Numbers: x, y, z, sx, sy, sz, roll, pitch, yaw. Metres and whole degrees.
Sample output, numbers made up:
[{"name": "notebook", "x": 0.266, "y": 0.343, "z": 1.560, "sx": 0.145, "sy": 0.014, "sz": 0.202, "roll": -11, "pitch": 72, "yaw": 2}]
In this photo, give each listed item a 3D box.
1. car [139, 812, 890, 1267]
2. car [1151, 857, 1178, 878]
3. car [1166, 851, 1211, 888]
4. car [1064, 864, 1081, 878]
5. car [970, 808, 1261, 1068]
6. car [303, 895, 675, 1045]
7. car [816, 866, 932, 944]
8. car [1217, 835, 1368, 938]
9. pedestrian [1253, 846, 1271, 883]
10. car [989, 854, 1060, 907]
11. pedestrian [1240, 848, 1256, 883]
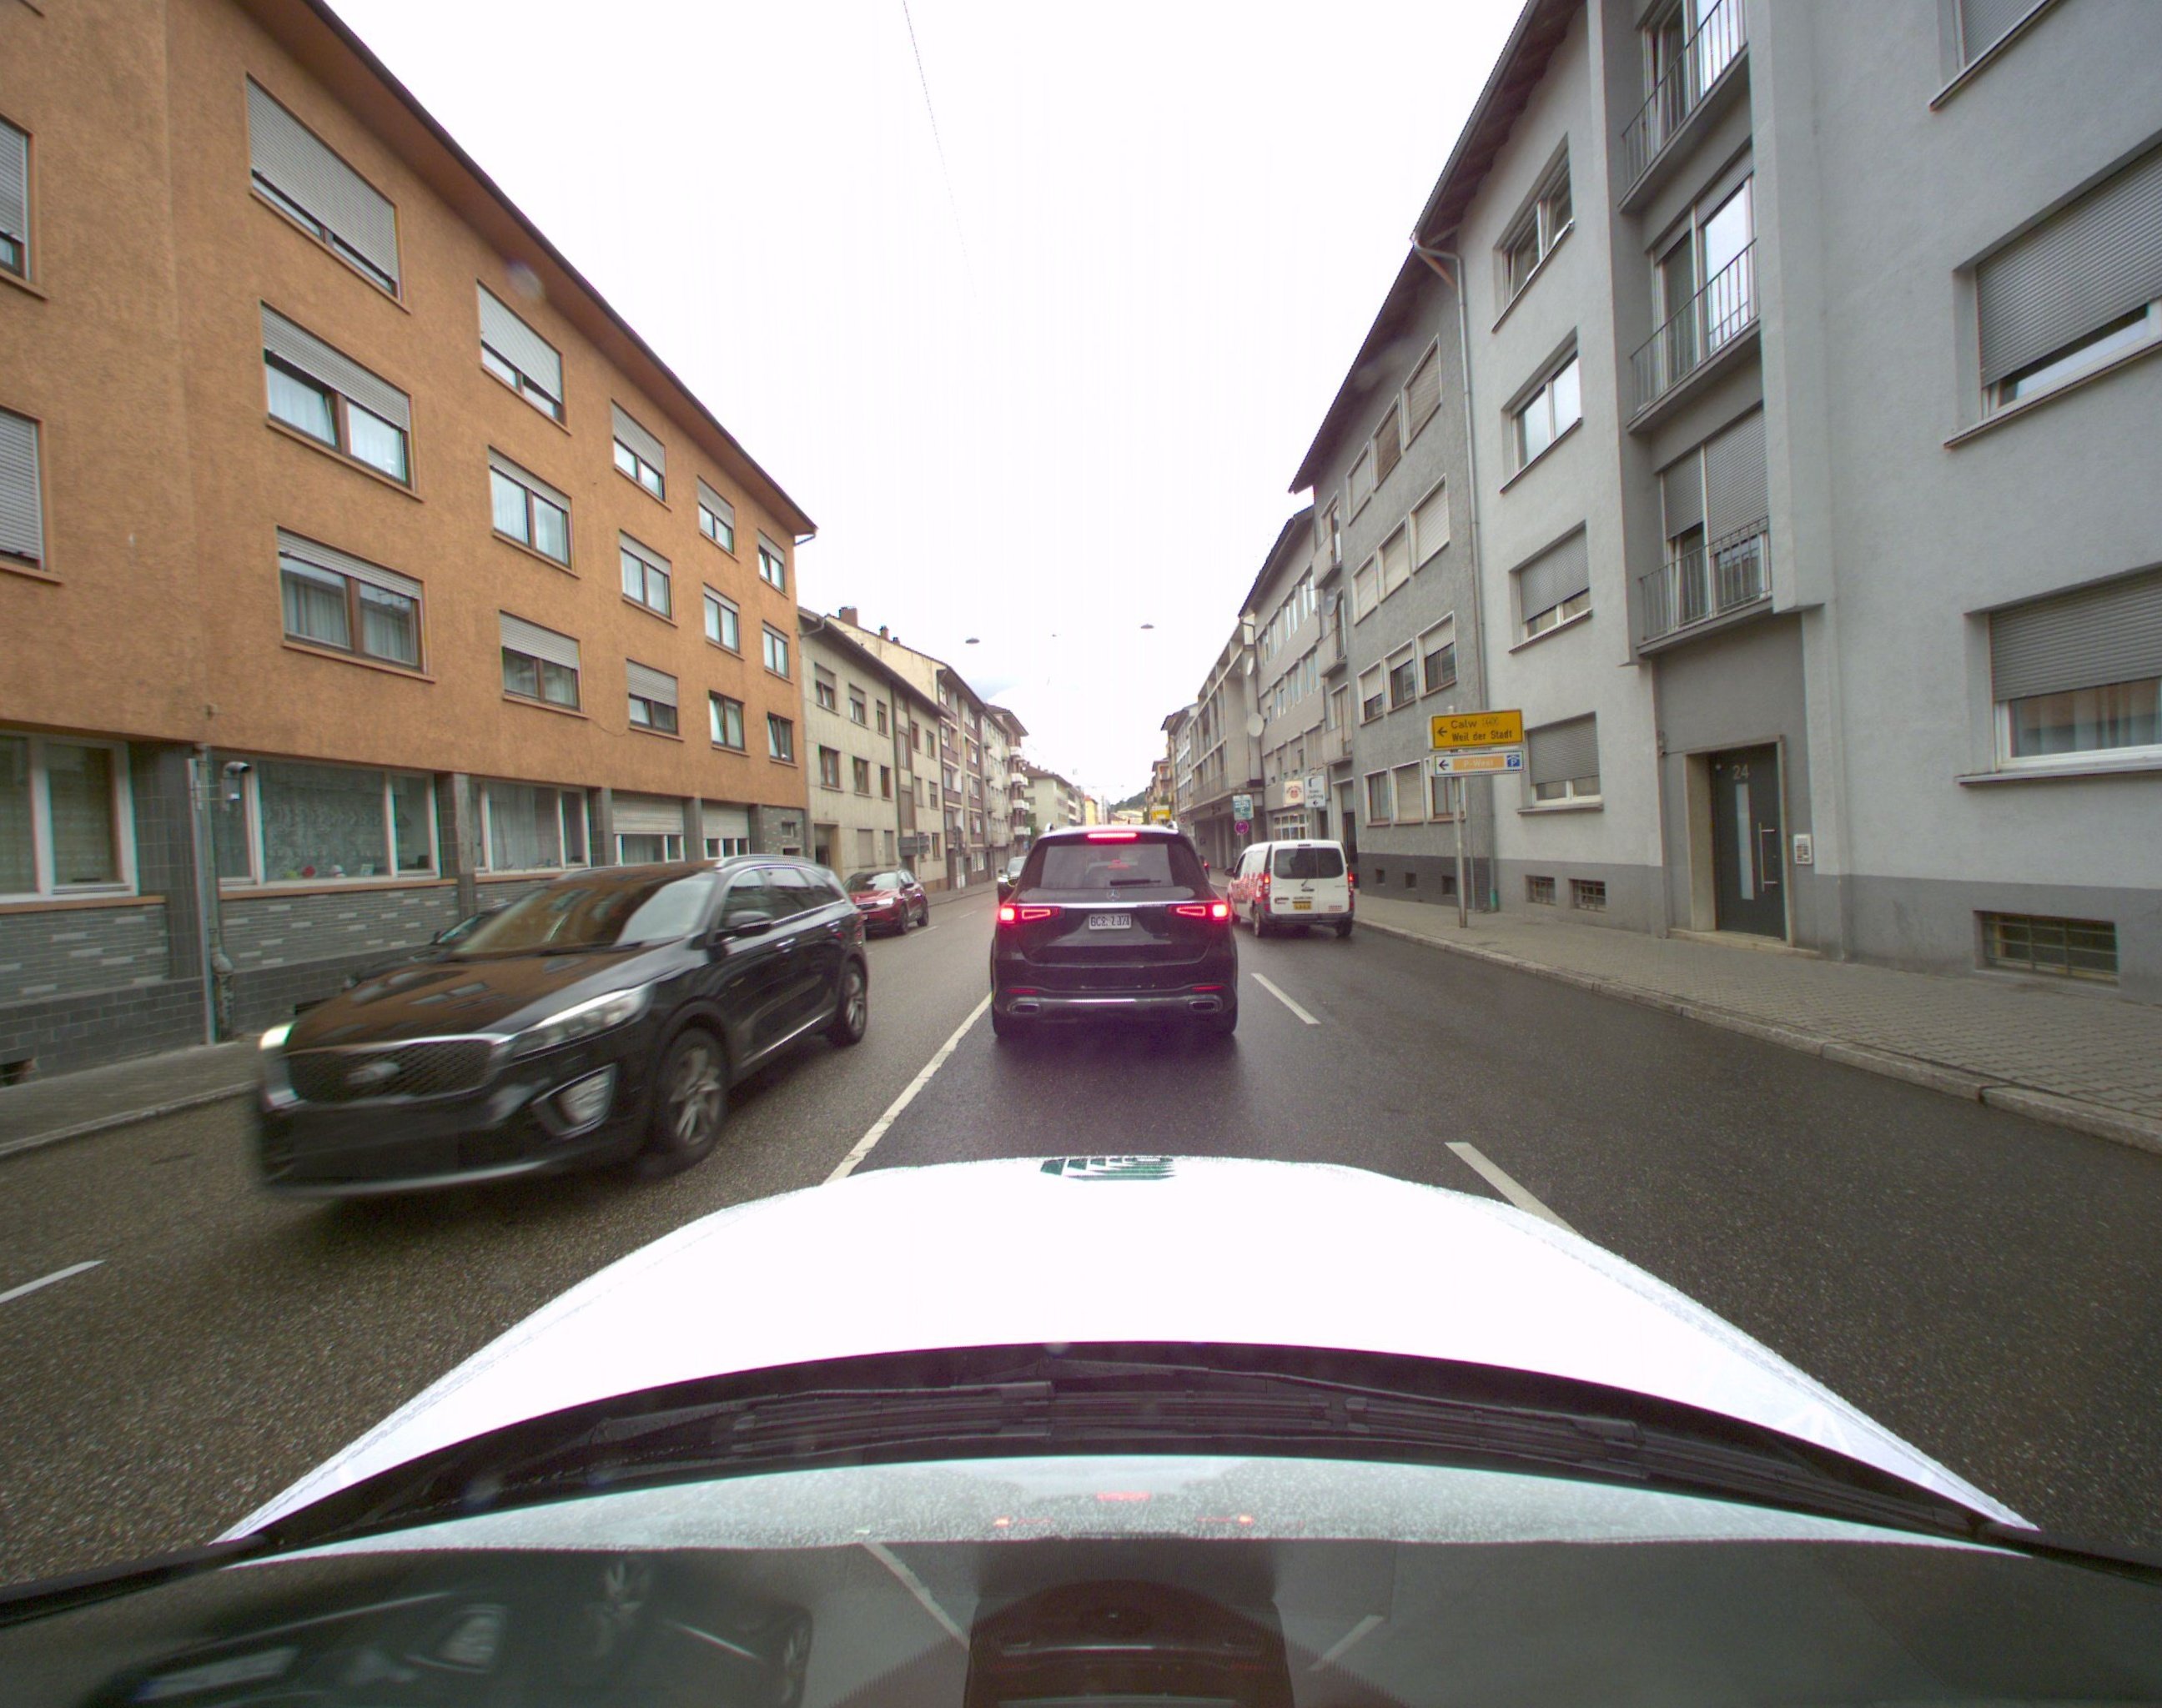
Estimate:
[{"name": "car", "x": -2.879, "y": 0.772, "z": 5.614, "sx": 1.830, "sy": 1.727, "sz": 4.475, "roll": -5, "pitch": 0, "yaw": 1}, {"name": "car", "x": 5.963, "y": 0.935, "z": 58.373, "sx": 1.615, "sy": 1.430, "sz": 4.313, "roll": 0, "pitch": 0, "yaw": 1}, {"name": "car", "x": 4.974, "y": 0.676, "z": 38.049, "sx": 1.800, "sy": 1.606, "sz": 4.216, "roll": -1, "pitch": 0, "yaw": 4}, {"name": "car", "x": -0.924, "y": 1.971, "z": 93.189, "sx": 1.762, "sy": 1.346, "sz": 3.887, "roll": -6, "pitch": 0, "yaw": 0}, {"name": "car", "x": 0.288, "y": 0.589, "z": 7.682, "sx": 2.018, "sy": 1.806, "sz": 4.001, "roll": 0, "pitch": 0, "yaw": 1}, {"name": "car", "x": -7.736, "y": 1.406, "z": 11.345, "sx": 1.789, "sy": 1.438, "sz": 4.528, "roll": 0, "pitch": 0, "yaw": 1}, {"name": "car", "x": -5.053, "y": 1.172, "z": 20.491, "sx": 1.792, "sy": 1.584, "sz": 4.313, "roll": -5, "pitch": 0, "yaw": -2}, {"name": "car", "x": 4.109, "y": 0.571, "z": 16.681, "sx": 1.933, "sy": 1.775, "sz": 4.747, "roll": -1, "pitch": 0, "yaw": 1}, {"name": "pedestrian", "x": 8.117, "y": 0.475, "z": 36.518, "sx": 0.558, "sy": 1.578, "sz": 0.526, "roll": -5, "pitch": 0, "yaw": 1}, {"name": "car", "x": -2.059, "y": 0.937, "z": 31.054, "sx": 2.119, "sy": 1.721, "sz": 4.819, "roll": -5, "pitch": 0, "yaw": 1}, {"name": "pedestrian", "x": 7.487, "y": 0.517, "z": 36.492, "sx": 0.504, "sy": 1.500, "sz": 0.562, "roll": -5, "pitch": 0, "yaw": 1}]
